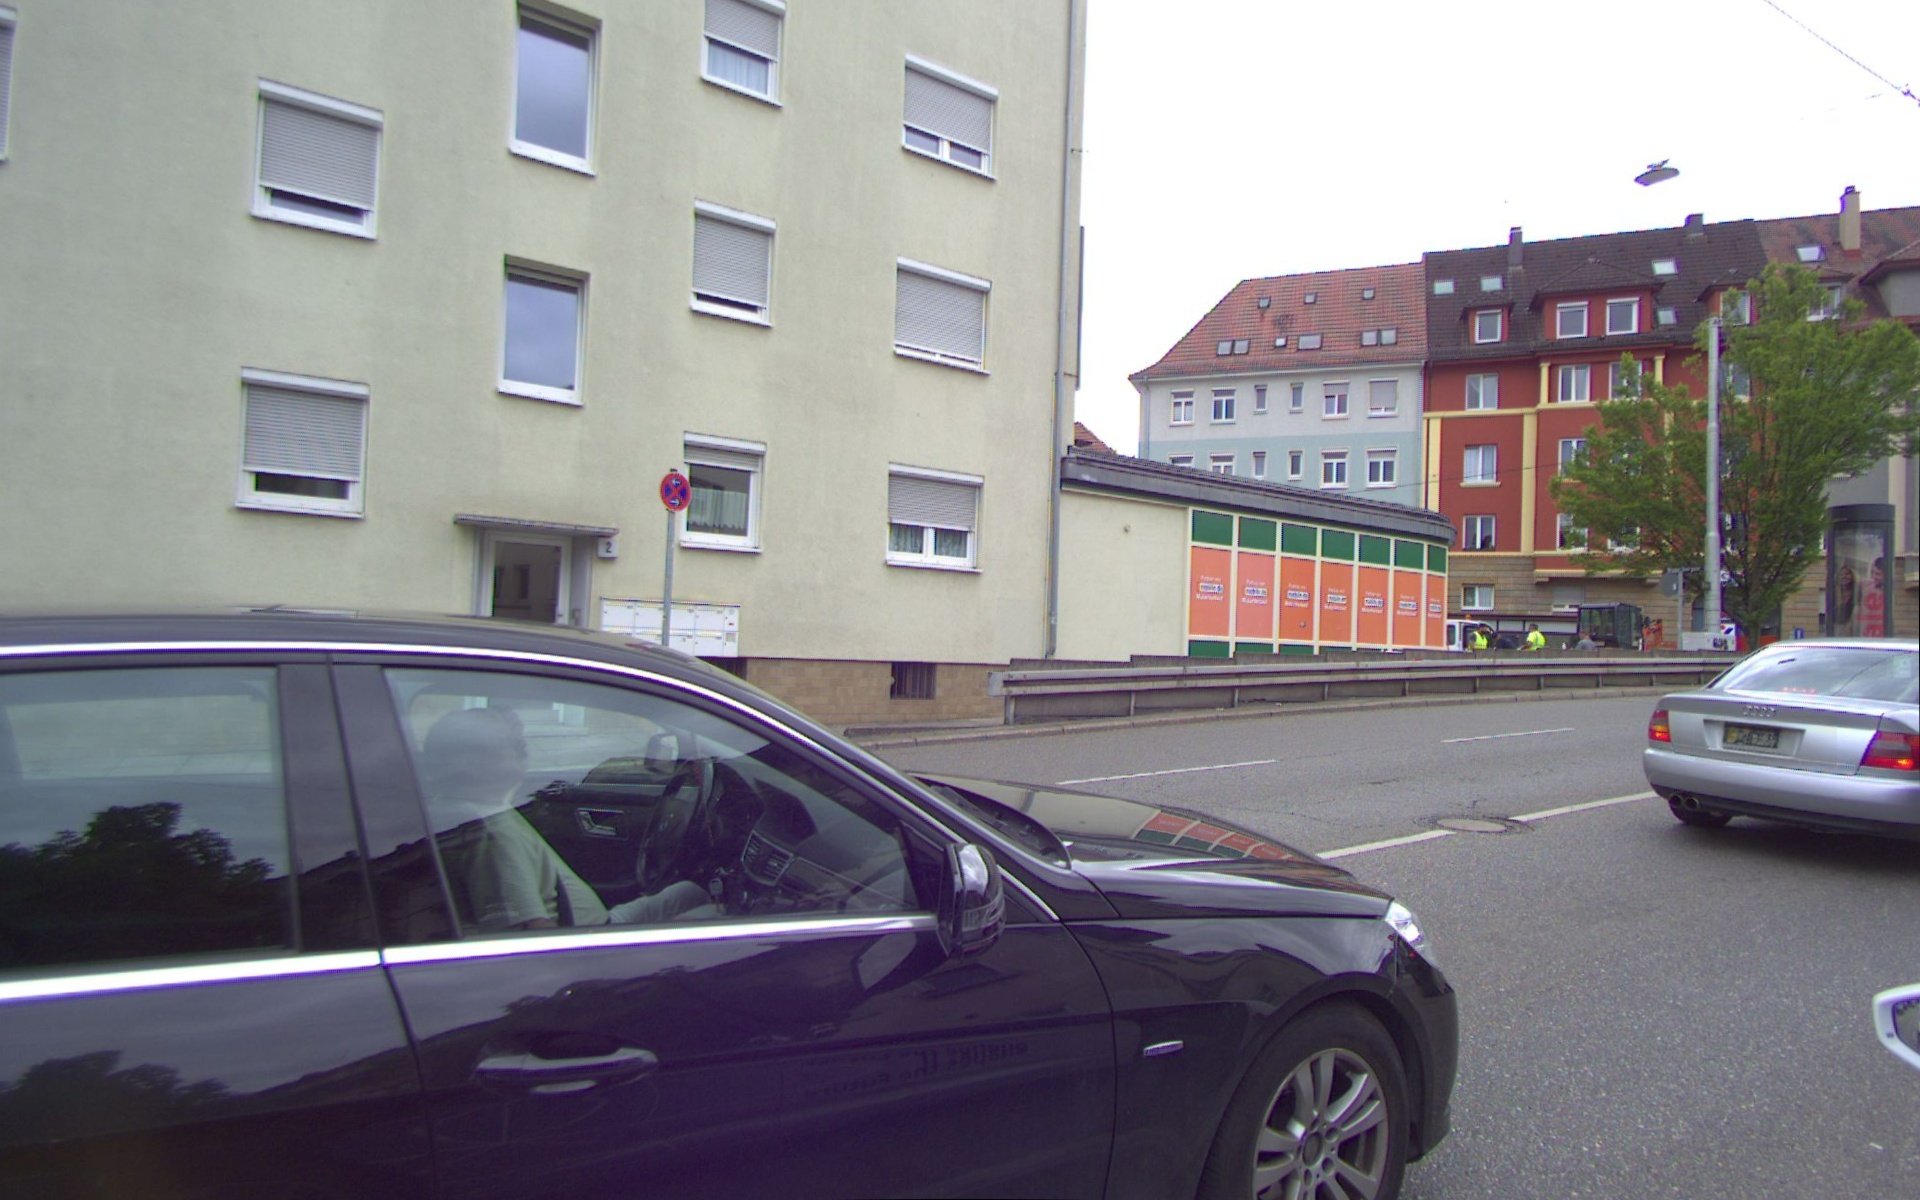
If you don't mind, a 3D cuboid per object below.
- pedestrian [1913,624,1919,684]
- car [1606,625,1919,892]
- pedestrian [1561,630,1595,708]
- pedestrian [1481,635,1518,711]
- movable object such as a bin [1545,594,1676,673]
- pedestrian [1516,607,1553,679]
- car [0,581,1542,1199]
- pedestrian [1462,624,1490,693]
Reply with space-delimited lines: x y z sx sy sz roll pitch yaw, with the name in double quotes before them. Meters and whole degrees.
"pedestrian" 26.122 1.464 26.985 0.480 1.588 0.586 2 1 -30
"car" 6.697 0.898 7.101 4.121 1.391 1.691 0 0 -26
"pedestrian" 14.368 1.589 23.355 0.533 1.753 0.593 3 1 26
"pedestrian" 12.669 1.709 23.593 0.539 1.722 0.557 1 1 -41
"movable object such as a bin" 16.667 0.820 25.658 3.972 1.795 1.884 2 1 -43
"pedestrian" 14.472 1.072 25.303 0.613 1.785 0.566 1 1 -39
"car" -0.937 0.732 2.026 4.394 1.473 1.739 2 -1 -31
"pedestrian" 13.552 1.521 26.386 0.467 1.753 0.543 2 1 14
